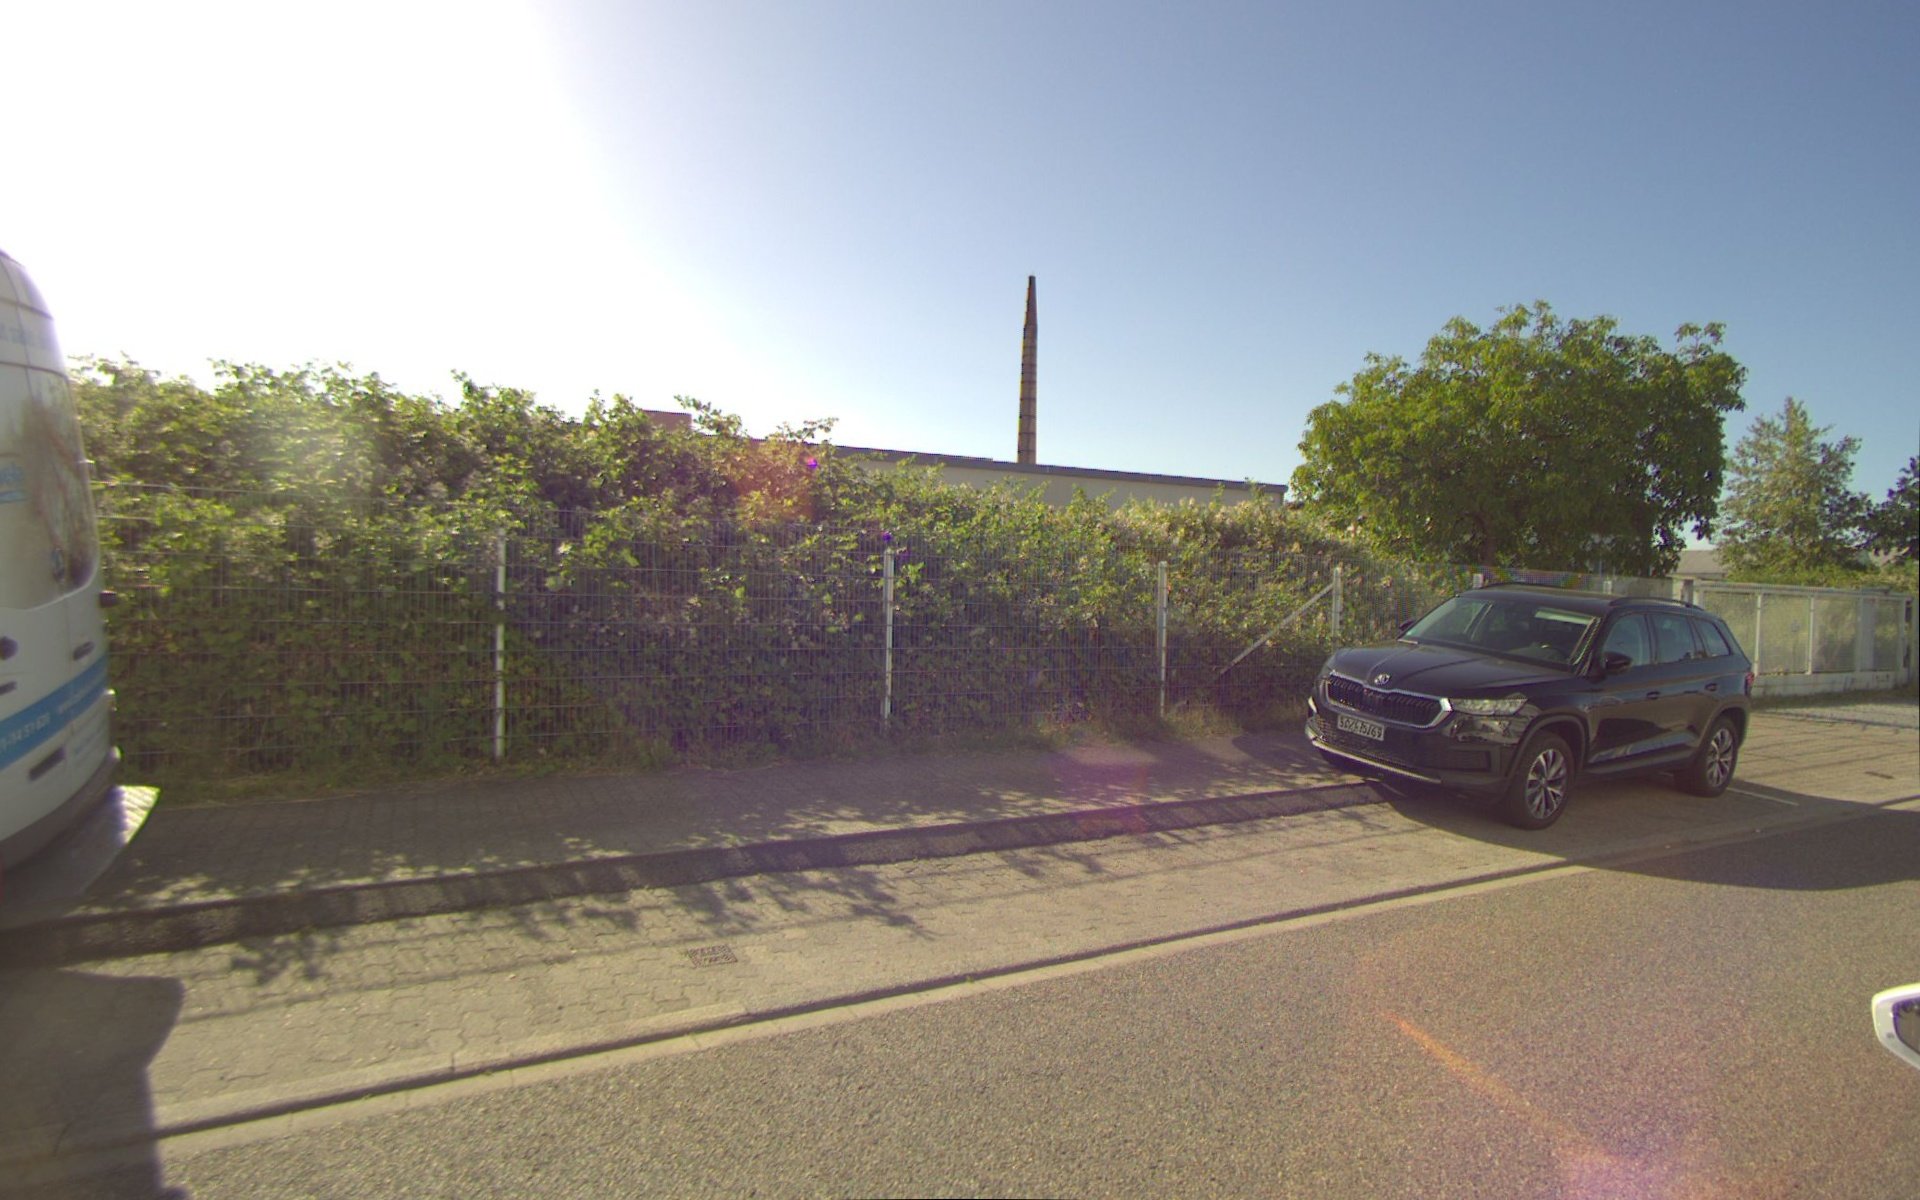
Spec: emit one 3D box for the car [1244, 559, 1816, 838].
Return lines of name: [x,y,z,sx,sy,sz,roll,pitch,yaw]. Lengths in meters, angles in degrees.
car: [5.075,0.662,8.743,5.049,1.717,2.019,1,5,-31]

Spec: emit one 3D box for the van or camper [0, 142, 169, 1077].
van or camper: [-5.780,-0.101,2.348,5.873,2.722,1.957,1,6,-28]
